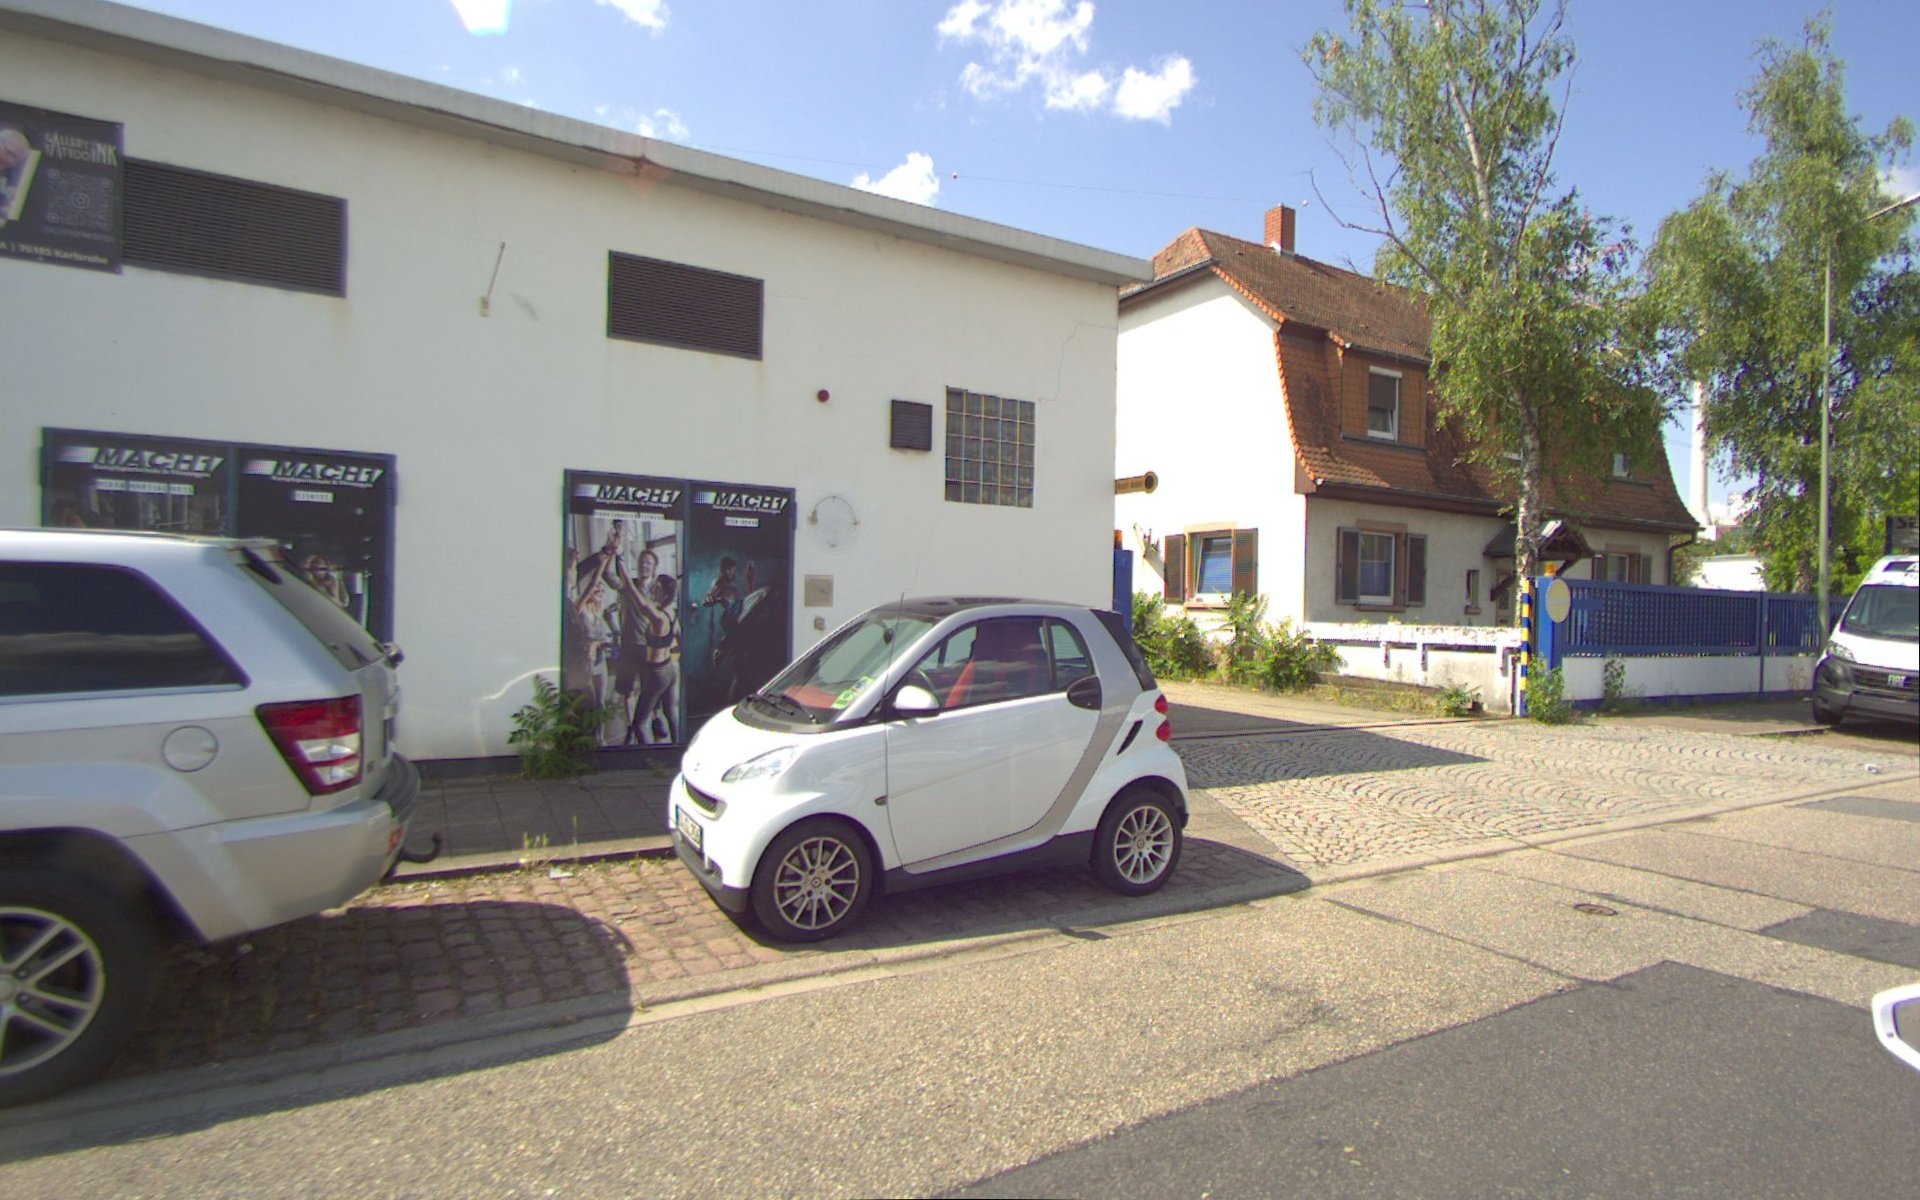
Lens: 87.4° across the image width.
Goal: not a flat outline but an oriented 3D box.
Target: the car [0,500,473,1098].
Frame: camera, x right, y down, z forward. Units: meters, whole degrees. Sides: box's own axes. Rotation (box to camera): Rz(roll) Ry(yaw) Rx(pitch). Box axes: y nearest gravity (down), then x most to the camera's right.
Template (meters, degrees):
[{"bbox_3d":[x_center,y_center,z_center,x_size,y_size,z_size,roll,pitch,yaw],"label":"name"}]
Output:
[{"bbox_3d":[-4.187,0.515,3.104,4.696,1.742,1.782,2,2,-30],"label":"car"}]

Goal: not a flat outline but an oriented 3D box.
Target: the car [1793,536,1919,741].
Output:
[{"bbox_3d":[14.846,0.576,14.702,6.583,2.592,2.018,2,1,-32],"label":"car"}]

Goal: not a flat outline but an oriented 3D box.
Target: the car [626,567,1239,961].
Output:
[{"bbox_3d":[-0.165,0.699,5.591,2.971,1.595,1.603,1,3,-28],"label":"car"}]
